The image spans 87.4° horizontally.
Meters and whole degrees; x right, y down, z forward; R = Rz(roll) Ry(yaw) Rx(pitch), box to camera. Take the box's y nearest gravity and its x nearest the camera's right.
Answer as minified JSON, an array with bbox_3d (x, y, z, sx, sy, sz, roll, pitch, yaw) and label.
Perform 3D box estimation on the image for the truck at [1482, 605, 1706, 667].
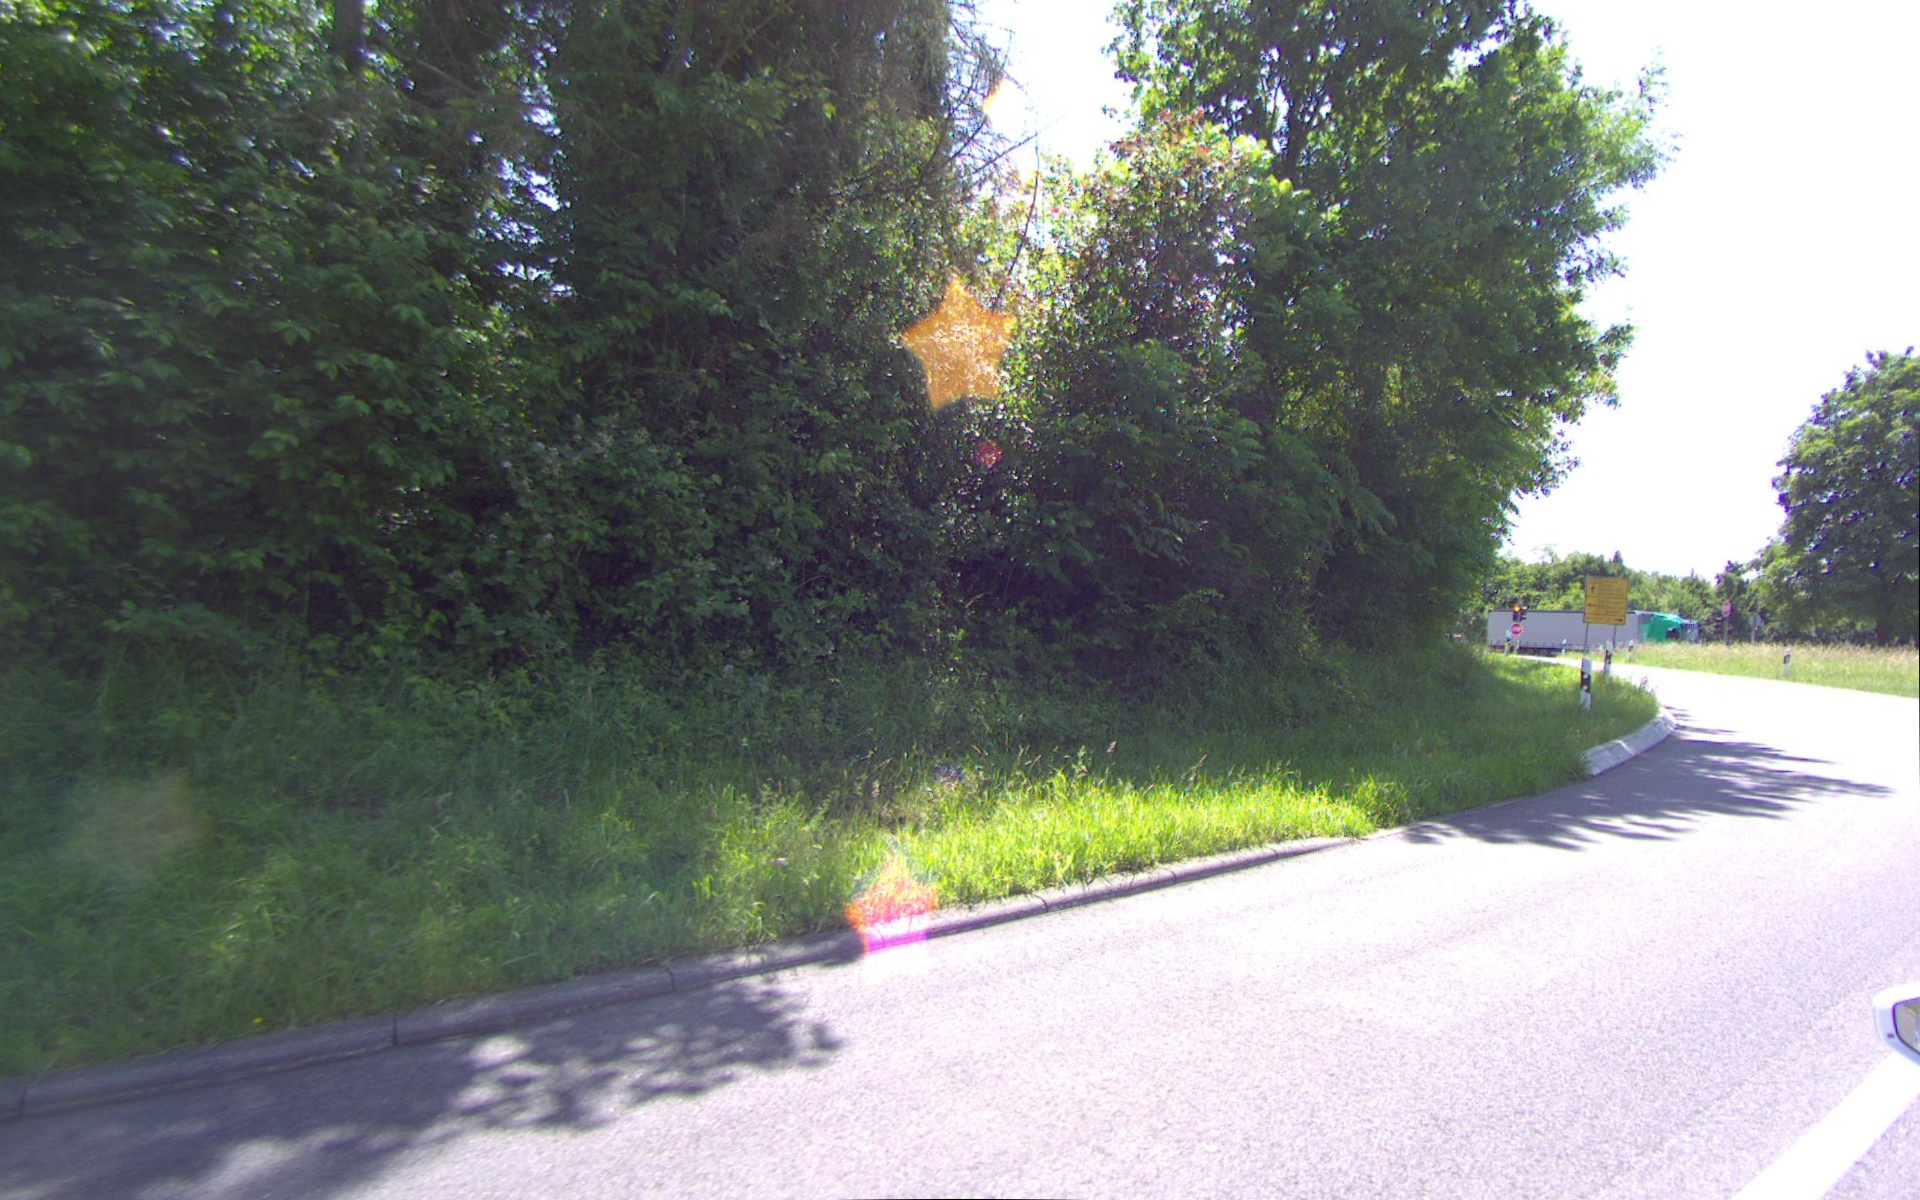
[{"bbox_3d":[50.552,2.662,81.308,3.090,4.227,16.601,4,-1,-21],"label":"truck"}]
